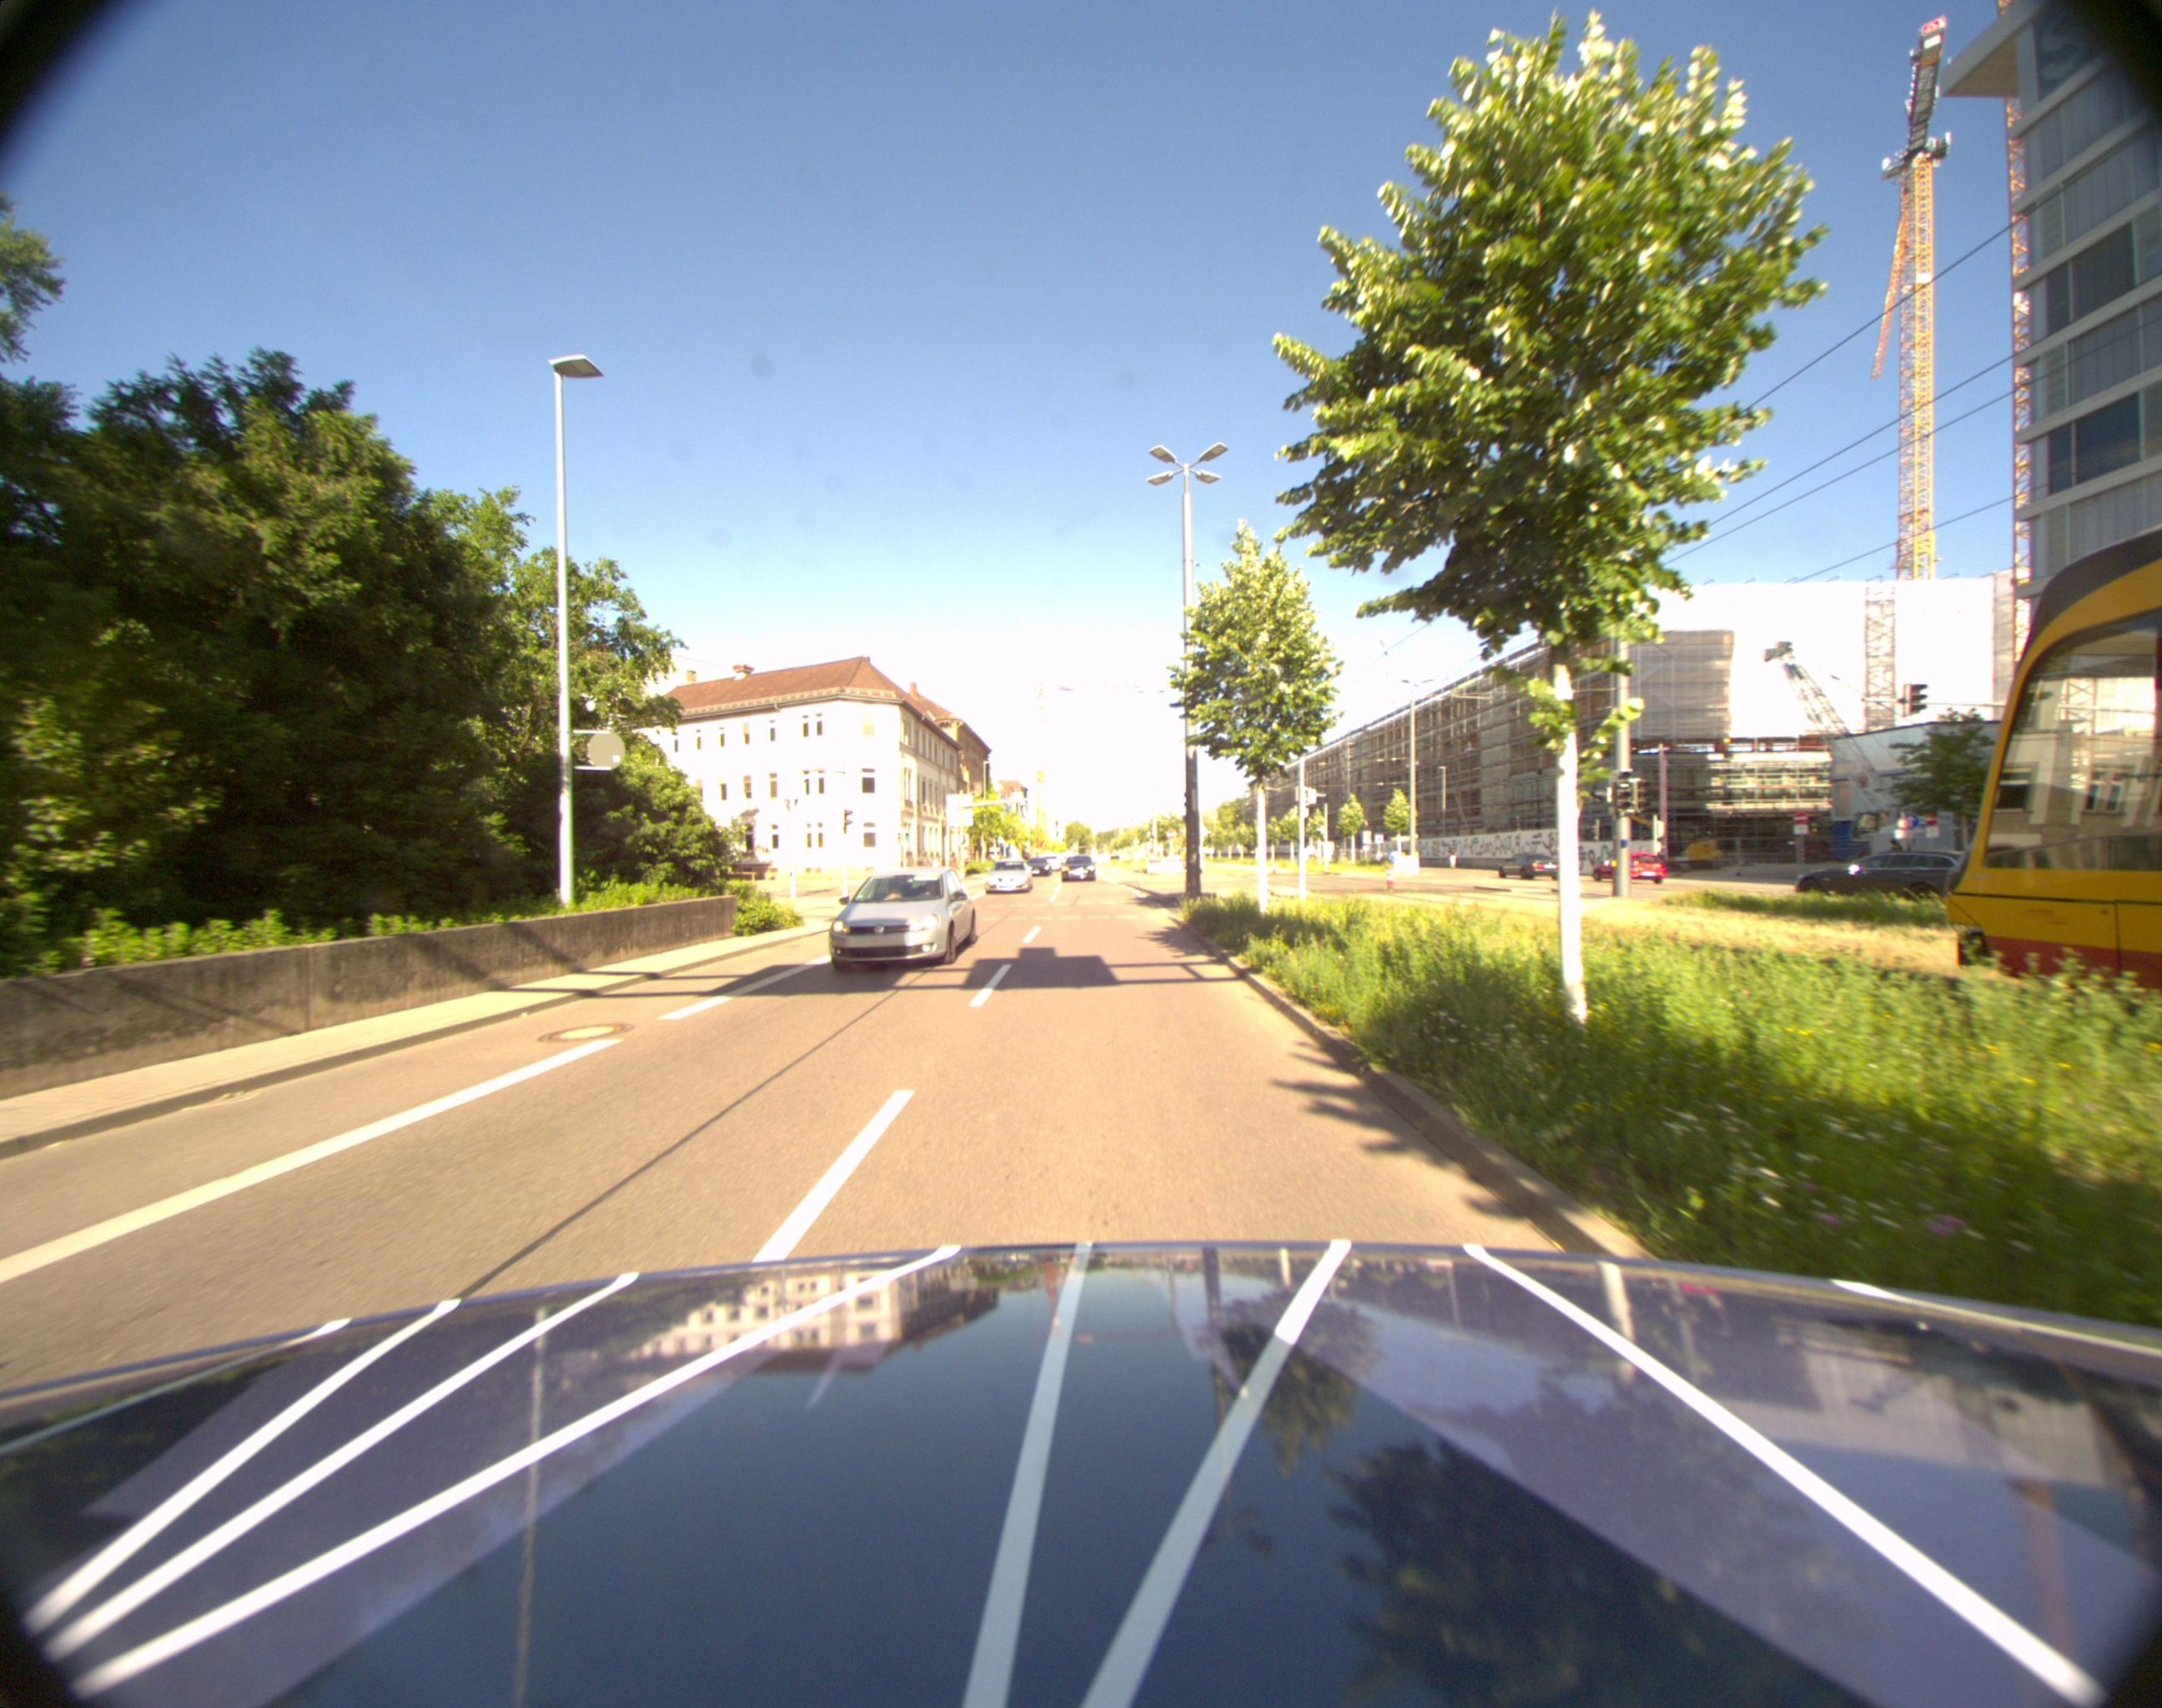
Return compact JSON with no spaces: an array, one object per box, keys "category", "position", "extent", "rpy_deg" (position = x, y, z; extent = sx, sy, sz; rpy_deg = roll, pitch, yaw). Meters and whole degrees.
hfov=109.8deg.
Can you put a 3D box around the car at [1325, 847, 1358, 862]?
[{"category":"car","position":[28.248,0.045,82.573],"extent":[1.890,1.565,3.998],"rpy_deg":[-2,1,-5]}]

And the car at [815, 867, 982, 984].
[{"category":"car","position":[-2.776,1.020,12.474],"extent":[1.703,1.466,3.999],"rpy_deg":[-2,1,0]}]

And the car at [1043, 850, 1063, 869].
[{"category":"car","position":[-2.639,0.515,71.701],"extent":[1.703,1.622,3.999],"rpy_deg":[-2,1,0]}]

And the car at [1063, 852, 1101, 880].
[{"category":"car","position":[0.000,0.642,42.921],"extent":[1.999,1.493,3.999],"rpy_deg":[-1,1,-2]}]

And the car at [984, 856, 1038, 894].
[{"category":"car","position":[-2.924,0.839,32.521],"extent":[1.839,1.415,3.999],"rpy_deg":[-2,1,0]}]

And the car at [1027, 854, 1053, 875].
[{"category":"car","position":[-3.066,0.762,57.405],"extent":[1.703,1.415,3.999],"rpy_deg":[-2,1,0]}]

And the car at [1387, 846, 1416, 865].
[{"category":"car","position":[26.790,0.102,63.563],"extent":[1.725,1.488,3.578],"rpy_deg":[-2,1,14]}]

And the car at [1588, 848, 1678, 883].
[{"category":"car","position":[26.714,0.512,36.926],"extent":[1.888,1.565,4.002],"rpy_deg":[-2,1,9]}]

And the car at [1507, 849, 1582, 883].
[{"category":"car","position":[23.825,0.585,39.209],"extent":[1.888,1.565,4.002],"rpy_deg":[-2,1,9]}]
